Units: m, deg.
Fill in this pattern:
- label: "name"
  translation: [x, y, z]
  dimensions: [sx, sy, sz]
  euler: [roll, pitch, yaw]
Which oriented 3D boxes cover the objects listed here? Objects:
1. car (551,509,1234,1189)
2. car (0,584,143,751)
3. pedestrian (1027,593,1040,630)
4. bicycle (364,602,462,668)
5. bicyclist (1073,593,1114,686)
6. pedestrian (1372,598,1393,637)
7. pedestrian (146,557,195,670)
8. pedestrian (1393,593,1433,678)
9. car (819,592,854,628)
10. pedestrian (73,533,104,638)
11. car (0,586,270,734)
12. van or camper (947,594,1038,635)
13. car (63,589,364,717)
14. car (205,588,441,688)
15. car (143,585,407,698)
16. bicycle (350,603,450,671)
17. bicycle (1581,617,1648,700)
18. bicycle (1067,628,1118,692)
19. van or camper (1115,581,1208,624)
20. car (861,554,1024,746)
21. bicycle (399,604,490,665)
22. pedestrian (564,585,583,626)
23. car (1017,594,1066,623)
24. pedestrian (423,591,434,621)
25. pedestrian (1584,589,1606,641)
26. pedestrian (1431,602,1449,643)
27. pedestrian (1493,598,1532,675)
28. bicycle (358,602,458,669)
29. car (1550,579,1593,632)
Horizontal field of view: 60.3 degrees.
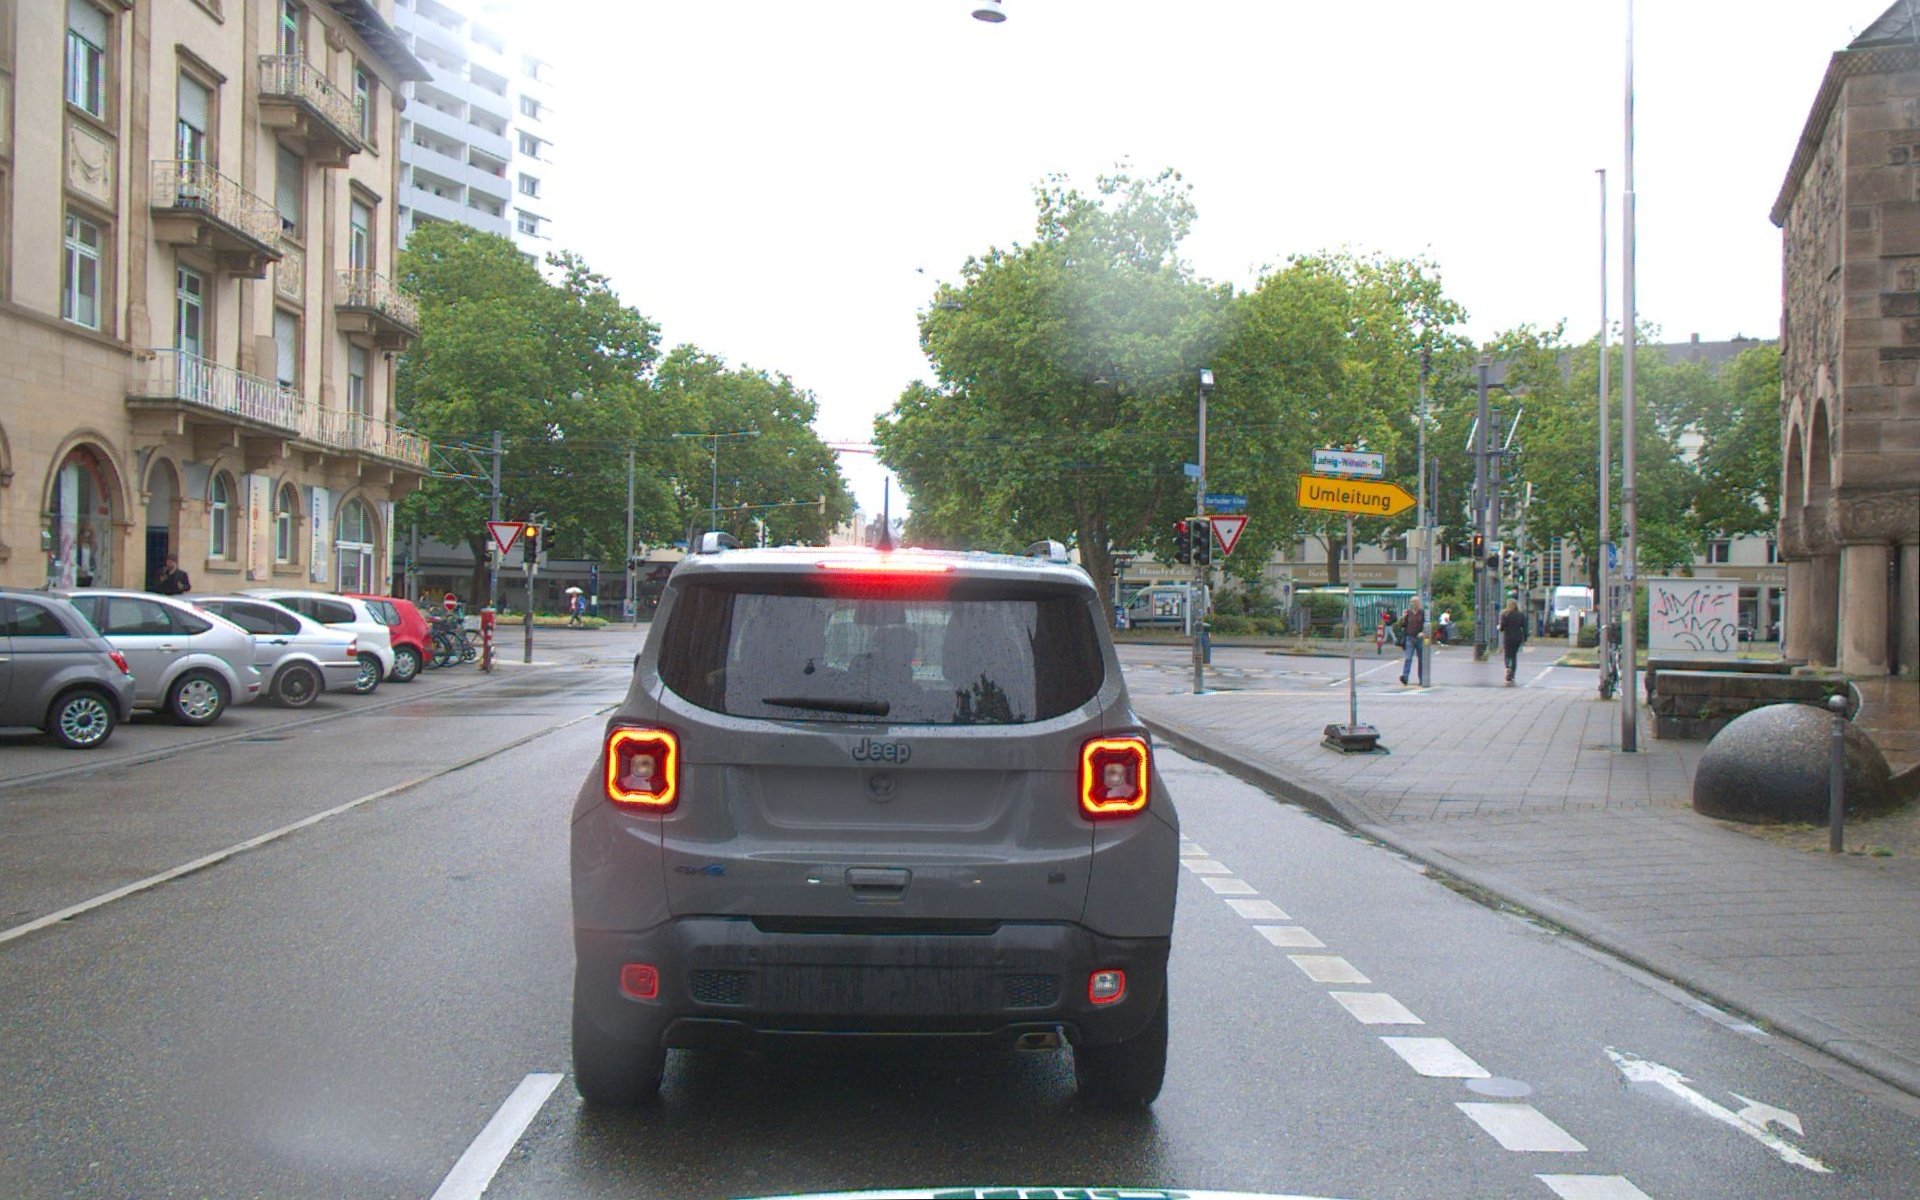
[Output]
- label: "car"
  translation: [-0.229, 0.625, 6.158]
  dimensions: [1.739, 1.716, 3.846]
  euler: [0, 0, -2]
- label: "car"
  translation: [-9.962, 0.633, 16.038]
  dimensions: [3.372, 1.585, 1.628]
  euler: [1, 0, -41]
- label: "pedestrian"
  translation: [4.143, 0.663, 92.659]
  dimensions: [0.637, 2.049, 0.483]
  euler: [0, 0, 11]
- label: "bicycle"
  translation: [-10.921, 0.696, 33.021]
  dimensions: [1.774, 1.288, 0.498]
  euler: [0, 0, -3]
- label: "bicyclist"
  translation: [2.414, 0.707, 29.862]
  dimensions: [0.672, 1.646, 0.884]
  euler: [0, 0, 9]
- label: "pedestrian"
  translation: [17.380, 0.723, 68.083]
  dimensions: [0.660, 1.581, 0.761]
  euler: [0, -2, 27]
- label: "pedestrian"
  translation: [-14.478, 0.246, 30.346]
  dimensions: [0.556, 2.049, 0.654]
  euler: [1, 0, -1]
- label: "pedestrian"
  translation: [9.629, 0.749, 35.181]
  dimensions: [0.769, 1.790, 0.946]
  euler: [0, 0, 14]
- label: "car"
  translation: [-6.302, 0.498, 84.266]
  dimensions: [1.688, 1.769, 3.726]
  euler: [1, 0, -5]
- label: "pedestrian"
  translation: [-15.397, -0.252, 29.222]
  dimensions: [0.359, 1.854, 0.347]
  euler: [0, -1, -4]
- label: "car"
  translation: [-9.958, 0.648, 19.067]
  dimensions: [3.372, 1.585, 1.681]
  euler: [1, 0, -41]
- label: "van or camper"
  translation: [2.434, 1.058, 124.780]
  dimensions: [6.395, 2.963, 2.493]
  euler: [0, 0, 24]
- label: "car"
  translation: [-10.003, 0.669, 22.250]
  dimensions: [3.372, 1.585, 1.681]
  euler: [1, 0, -41]
- label: "car"
  translation: [-10.743, 0.612, 27.962]
  dimensions: [3.372, 1.585, 1.681]
  euler: [1, 0, -41]
- label: "car"
  translation: [-10.356, 0.592, 25.101]
  dimensions: [3.372, 1.585, 1.681]
  euler: [1, 0, -41]
- label: "bicycle"
  translation: [-10.752, 0.698, 31.794]
  dimensions: [1.728, 1.288, 0.522]
  euler: [0, 0, -3]
- label: "bicycle"
  translation: [9.843, 0.850, 24.922]
  dimensions: [0.322, 1.174, 2.076]
  euler: [0, 0, 4]
- label: "bicycle"
  translation: [2.401, 1.054, 29.758]
  dimensions: [0.677, 1.039, 2.660]
  euler: [0, 0, 9]
- label: "van or camper"
  translation: [11.532, 0.118, 94.976]
  dimensions: [5.149, 2.356, 2.090]
  euler: [1, 0, 3]
- label: "car"
  translation: [-0.232, 0.532, 19.796]
  dimensions: [1.734, 2.049, 3.999]
  euler: [1, 0, -1]
- label: "bicycle"
  translation: [-10.874, 0.725, 34.930]
  dimensions: [1.728, 1.288, 0.608]
  euler: [0, 0, -3]
- label: "pedestrian"
  translation: [-17.932, 0.254, 76.738]
  dimensions: [0.605, 1.858, 0.695]
  euler: [0, 0, 12]
- label: "car"
  translation: [5.903, 0.594, 119.421]
  dimensions: [3.363, 2.049, 1.549]
  euler: [0, -1, 12]
- label: "pedestrian"
  translation: [-27.420, 0.309, 85.393]
  dimensions: [0.434, 1.556, 0.642]
  euler: [1, 0, -10]
- label: "pedestrian"
  translation: [25.073, 0.589, 65.301]
  dimensions: [0.789, 2.049, 0.589]
  euler: [0, 0, 26]
- label: "pedestrian"
  translation: [19.285, 0.910, 66.448]
  dimensions: [0.600, 1.631, 0.494]
  euler: [0, 0, 23]
- label: "pedestrian"
  translation: [12.155, 0.797, 36.409]
  dimensions: [0.767, 1.674, 0.655]
  euler: [0, 0, 23]
- label: "bicycle"
  translation: [-10.780, 0.689, 32.341]
  dimensions: [1.774, 1.288, 0.498]
  euler: [0, 0, -3]
- label: "car"
  translation: [31.212, 0.275, 84.340]
  dimensions: [1.868, 2.600, 4.786]
  euler: [0, 0, 22]
